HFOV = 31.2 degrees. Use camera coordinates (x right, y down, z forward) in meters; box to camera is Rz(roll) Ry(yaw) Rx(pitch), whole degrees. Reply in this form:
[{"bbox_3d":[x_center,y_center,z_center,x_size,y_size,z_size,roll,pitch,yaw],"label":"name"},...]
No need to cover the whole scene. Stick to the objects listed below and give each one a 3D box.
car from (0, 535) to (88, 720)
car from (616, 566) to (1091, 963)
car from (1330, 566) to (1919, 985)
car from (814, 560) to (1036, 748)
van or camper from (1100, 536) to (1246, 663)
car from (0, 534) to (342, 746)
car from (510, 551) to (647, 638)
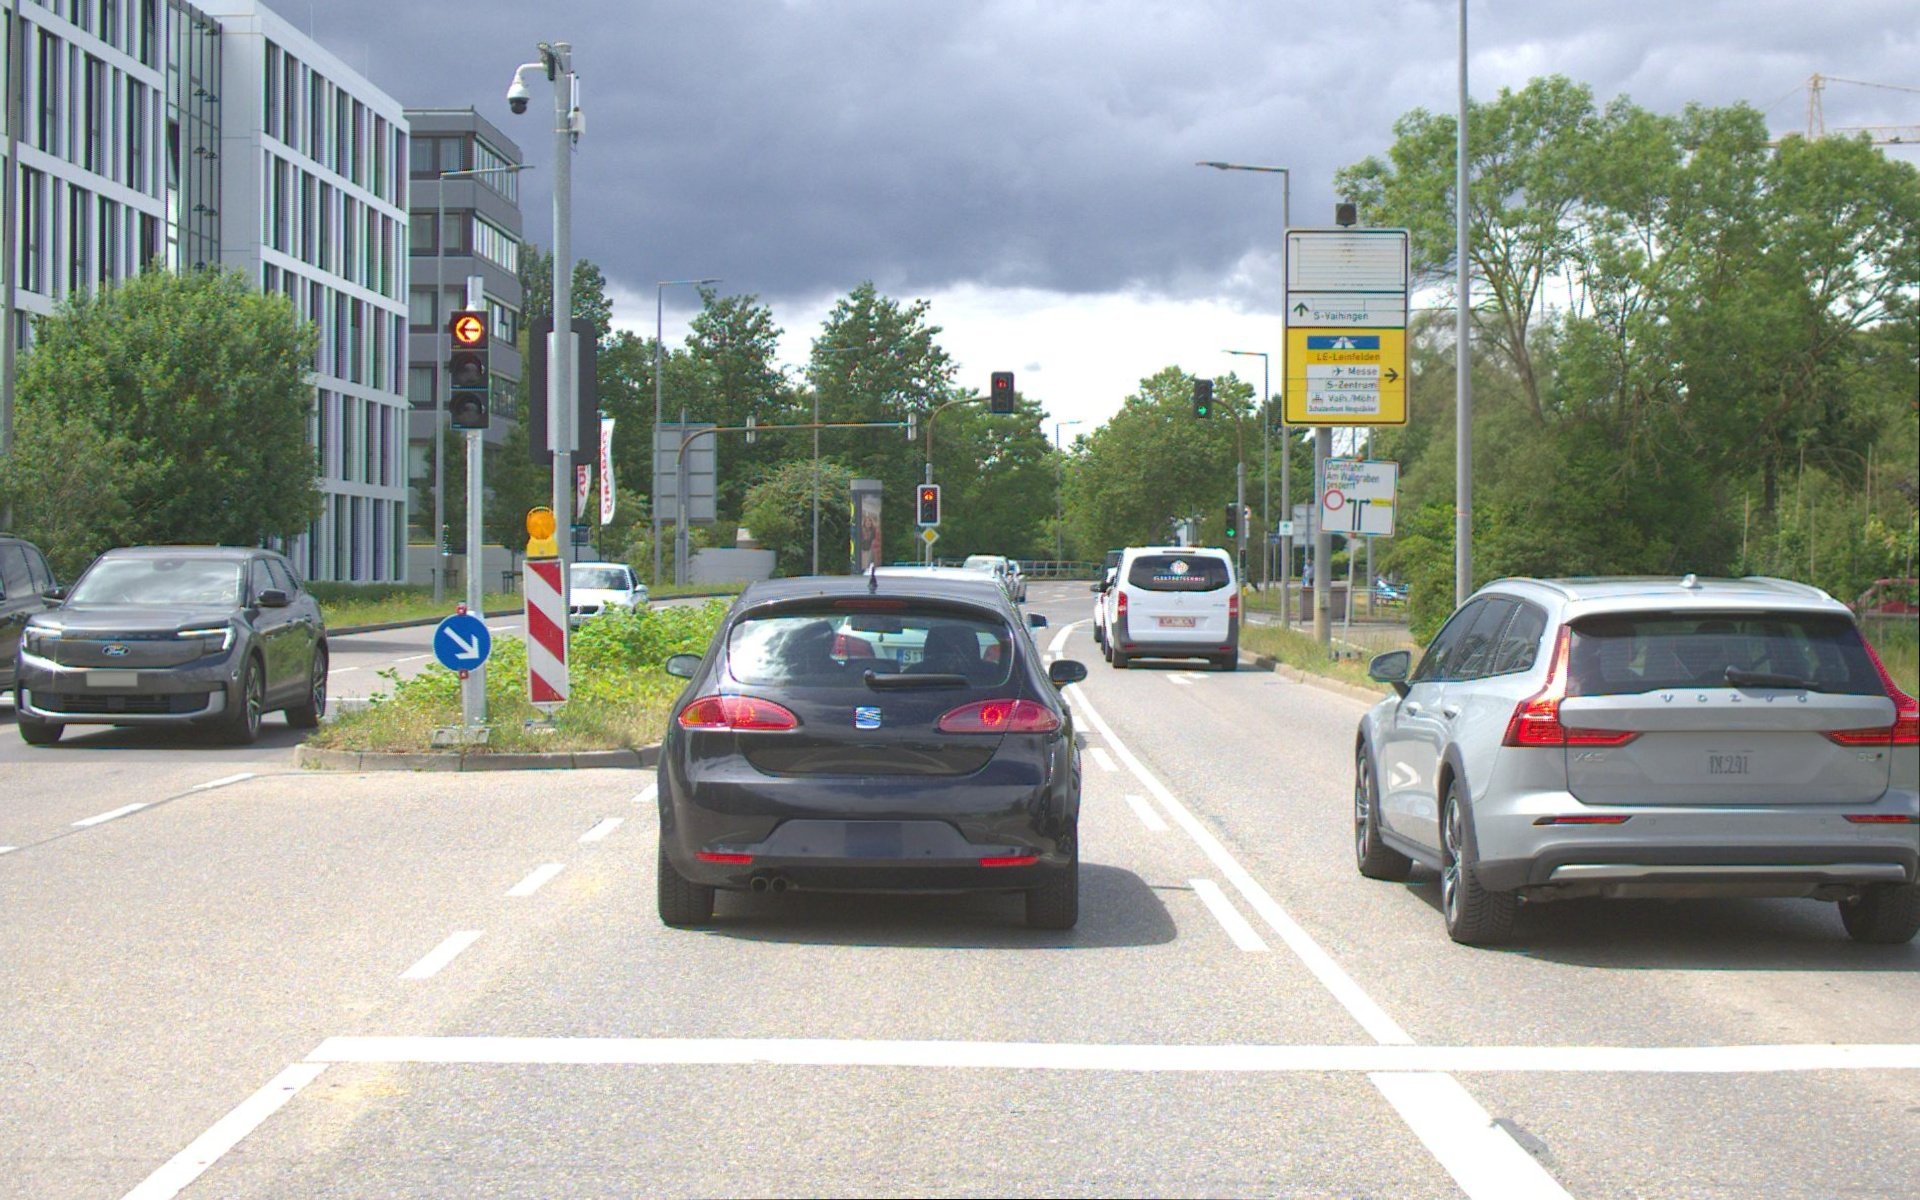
[{"bbox_3d":[-9.761,0.238,31.886,1.993,1.696,4.760,0,1,2],"label":"car"},{"bbox_3d":[-0.347,0.617,15.055,1.773,1.447,3.582,2,1,2],"label":"car"},{"bbox_3d":[2.806,0.627,14.905,1.863,1.513,4.447,0,1,-1],"label":"car"},{"bbox_3d":[-0.273,0.413,29.347,1.773,1.486,3.582,0,1,0],"label":"car"},{"bbox_3d":[3.241,-0.034,53.191,1.993,1.853,4.943,1,1,1],"label":"van or camper"},{"bbox_3d":[-6.493,0.274,28.519,1.993,1.612,4.306,0,1,-1],"label":"car"},{"bbox_3d":[-6.631,-0.127,60.127,1.792,1.442,4.422,1,1,1],"label":"car"}]
